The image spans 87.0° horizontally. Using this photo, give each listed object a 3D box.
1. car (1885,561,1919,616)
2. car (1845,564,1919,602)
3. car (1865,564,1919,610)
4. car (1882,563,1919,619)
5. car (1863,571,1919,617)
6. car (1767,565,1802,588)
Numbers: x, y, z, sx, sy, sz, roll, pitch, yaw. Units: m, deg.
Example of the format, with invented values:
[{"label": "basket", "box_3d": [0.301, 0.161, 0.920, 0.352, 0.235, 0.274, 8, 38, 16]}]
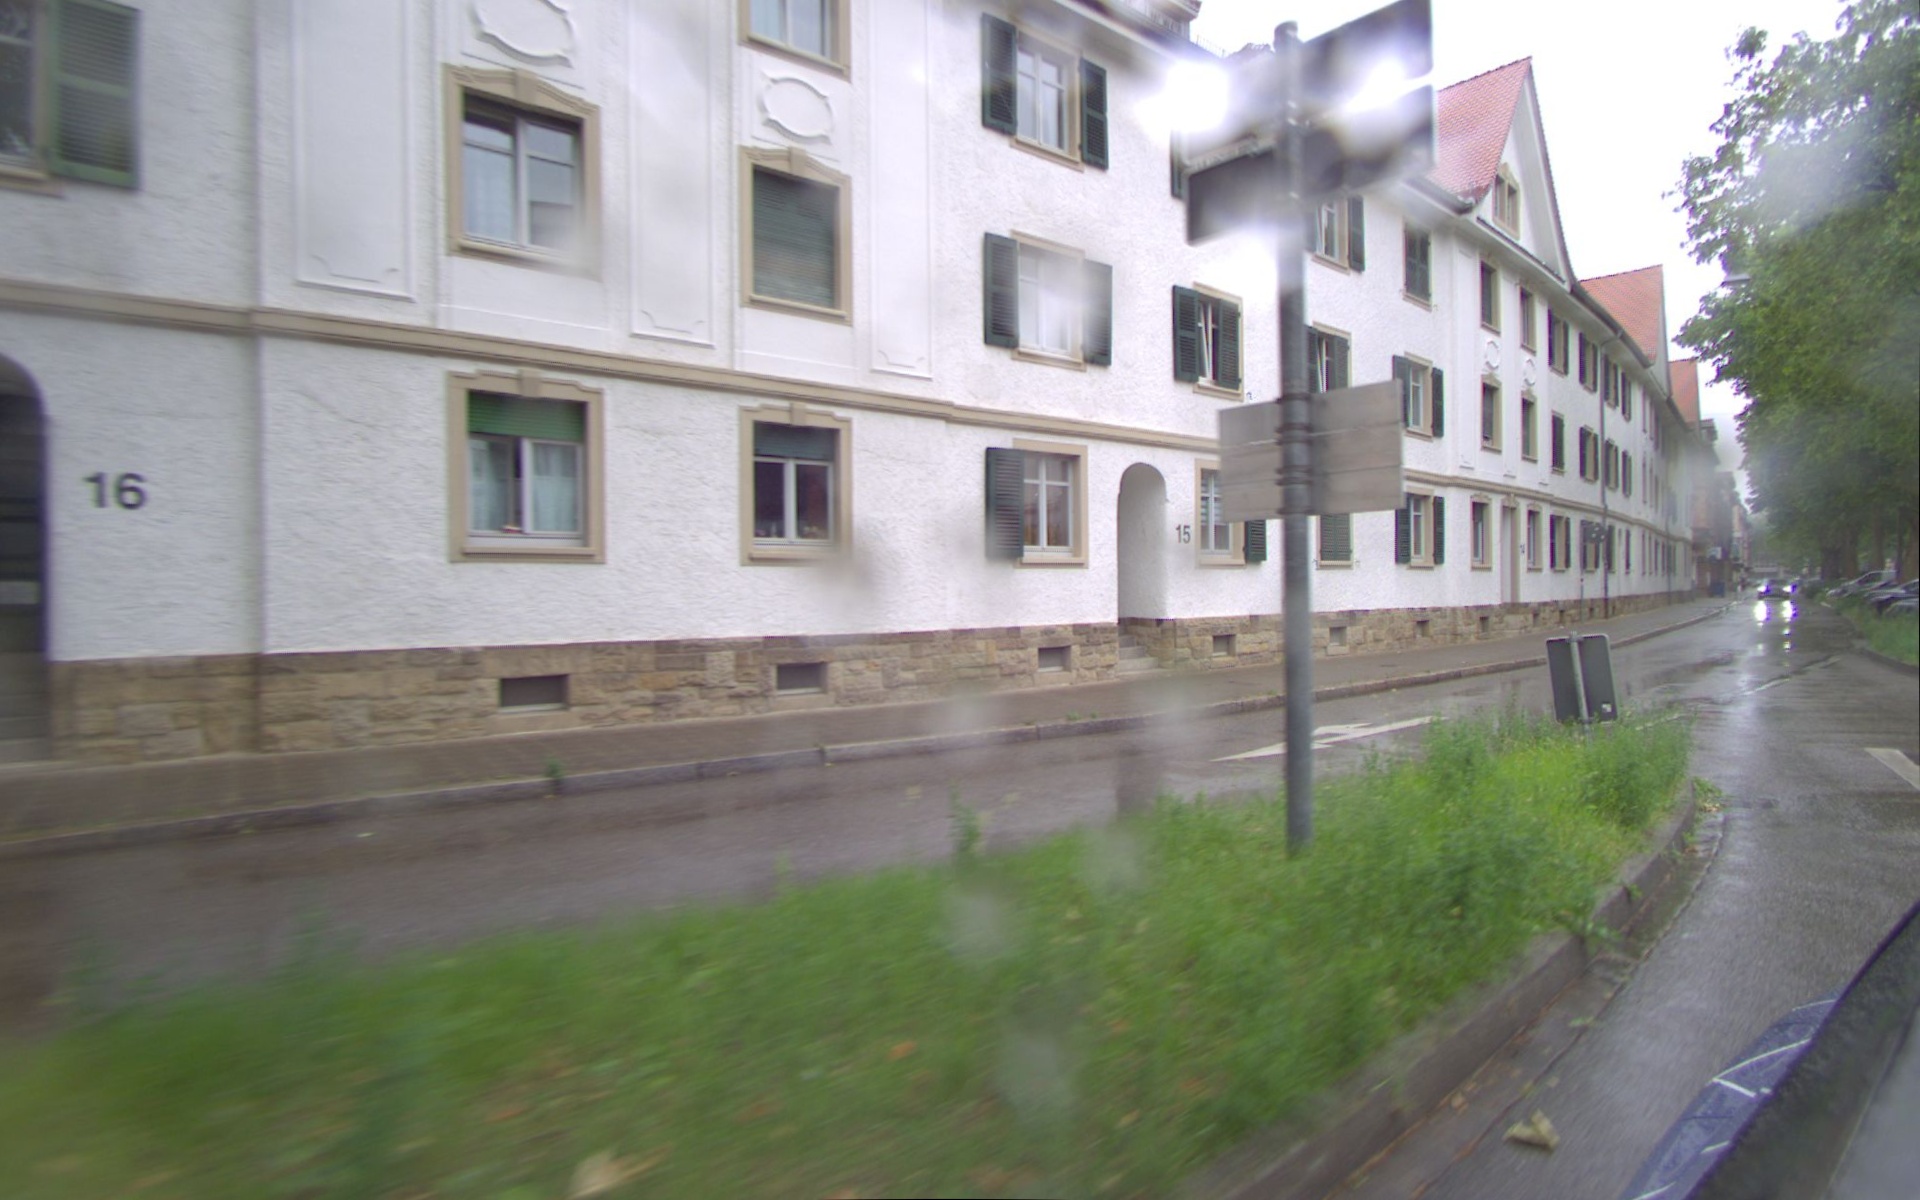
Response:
[{"label": "car", "box_3d": [29.849, -0.293, 29.270, 1.712, 1.630, 4.241, -1, 2, -19]}, {"label": "car", "box_3d": [51.718, -0.947, 55.126, 1.958, 2.038, 4.904, -1, 2, -19]}, {"label": "car", "box_3d": [35.247, -0.443, 35.907, 1.712, 1.632, 4.343, -1, 2, -24]}, {"label": "car", "box_3d": [28.298, -0.225, 27.618, 1.890, 1.560, 4.241, -1, 2, -19]}, {"label": "car", "box_3d": [33.297, -0.177, 33.824, 1.712, 1.526, 4.344, -1, 2, -18]}, {"label": "car", "box_3d": [61.681, -1.770, 75.684, 1.845, 1.616, 4.153, 0, 2, 42]}]
